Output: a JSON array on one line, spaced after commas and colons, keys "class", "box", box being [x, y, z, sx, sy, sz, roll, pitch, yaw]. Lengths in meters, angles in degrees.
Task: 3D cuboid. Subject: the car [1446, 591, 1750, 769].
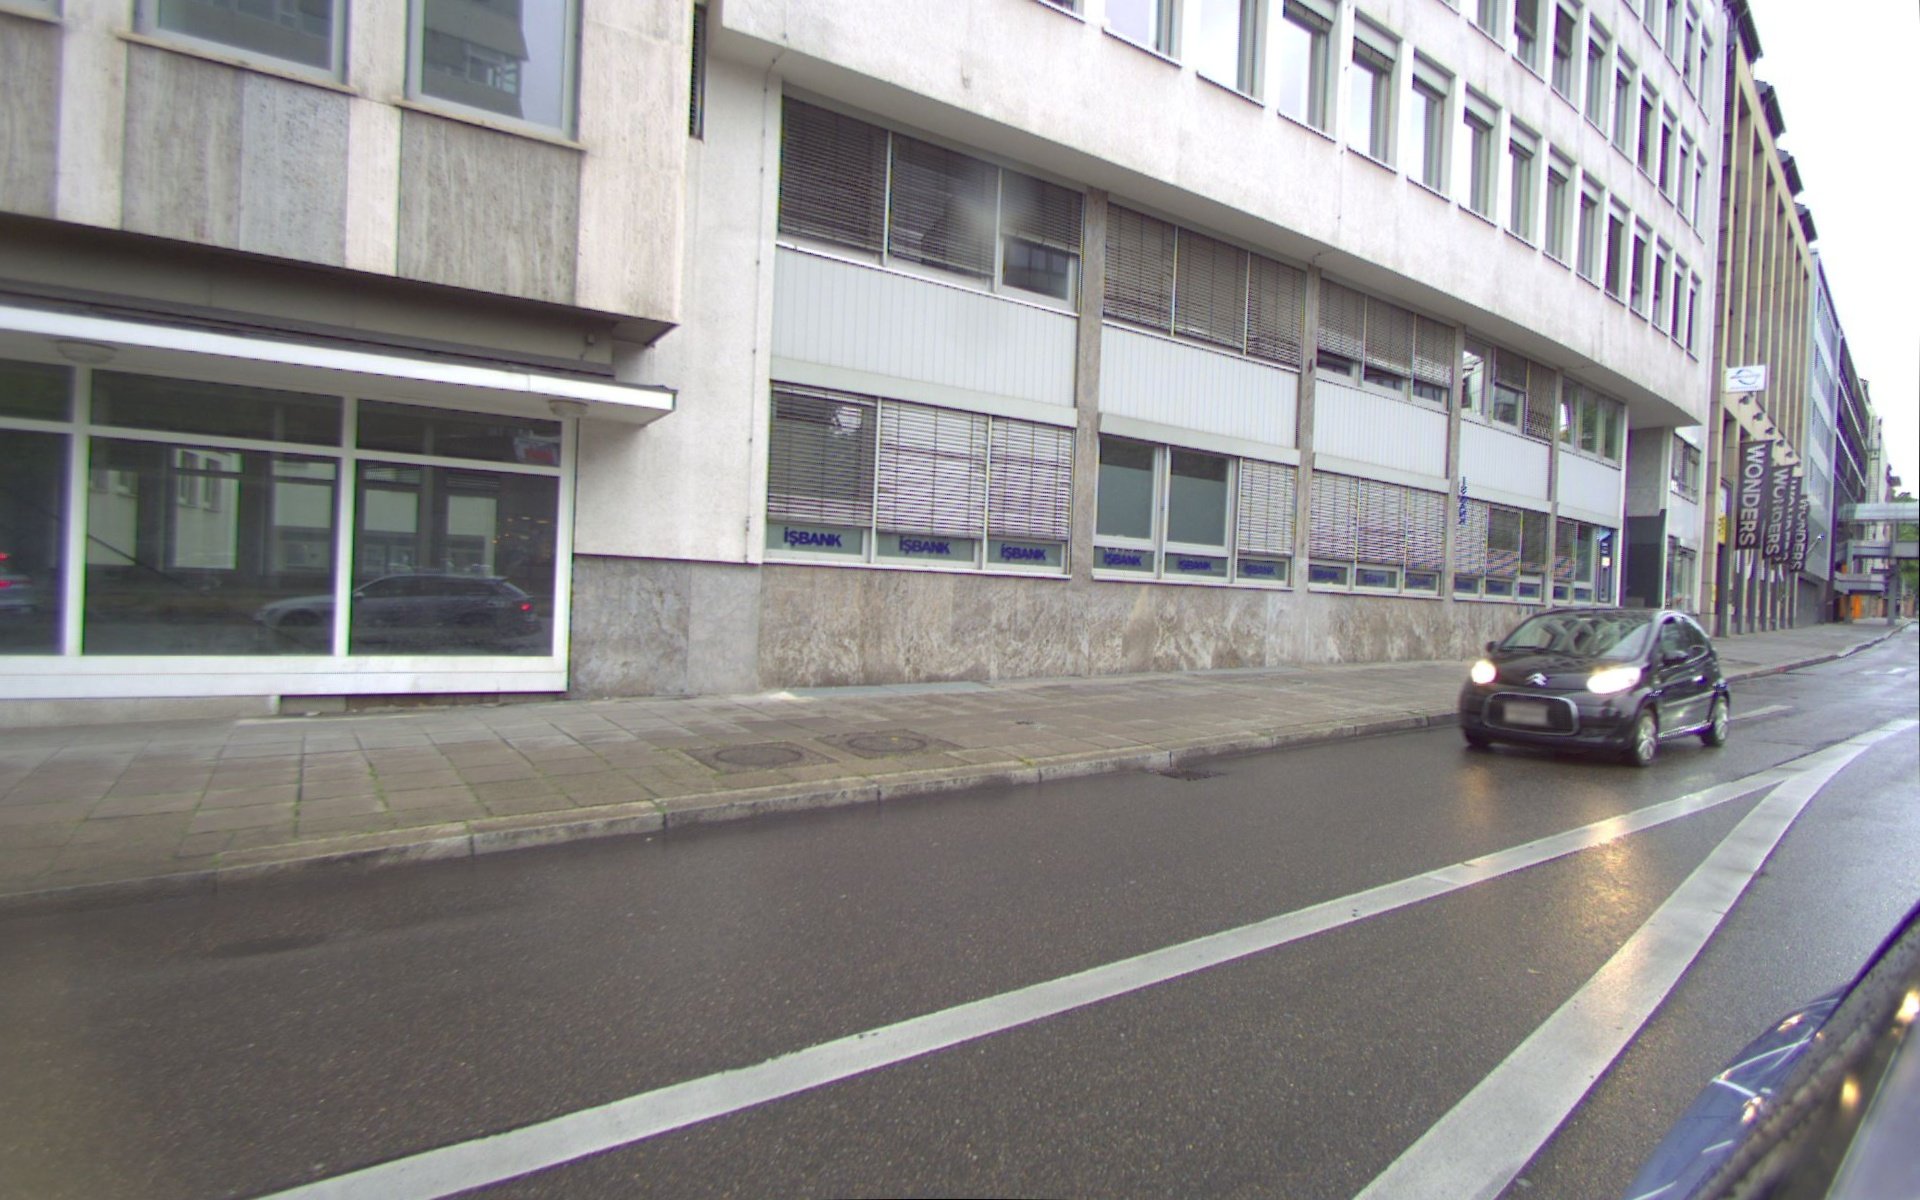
[{"class": "car", "box": [6.584, 0.684, 10.330, 3.422, 1.491, 1.665, 1, 0, -40]}]
